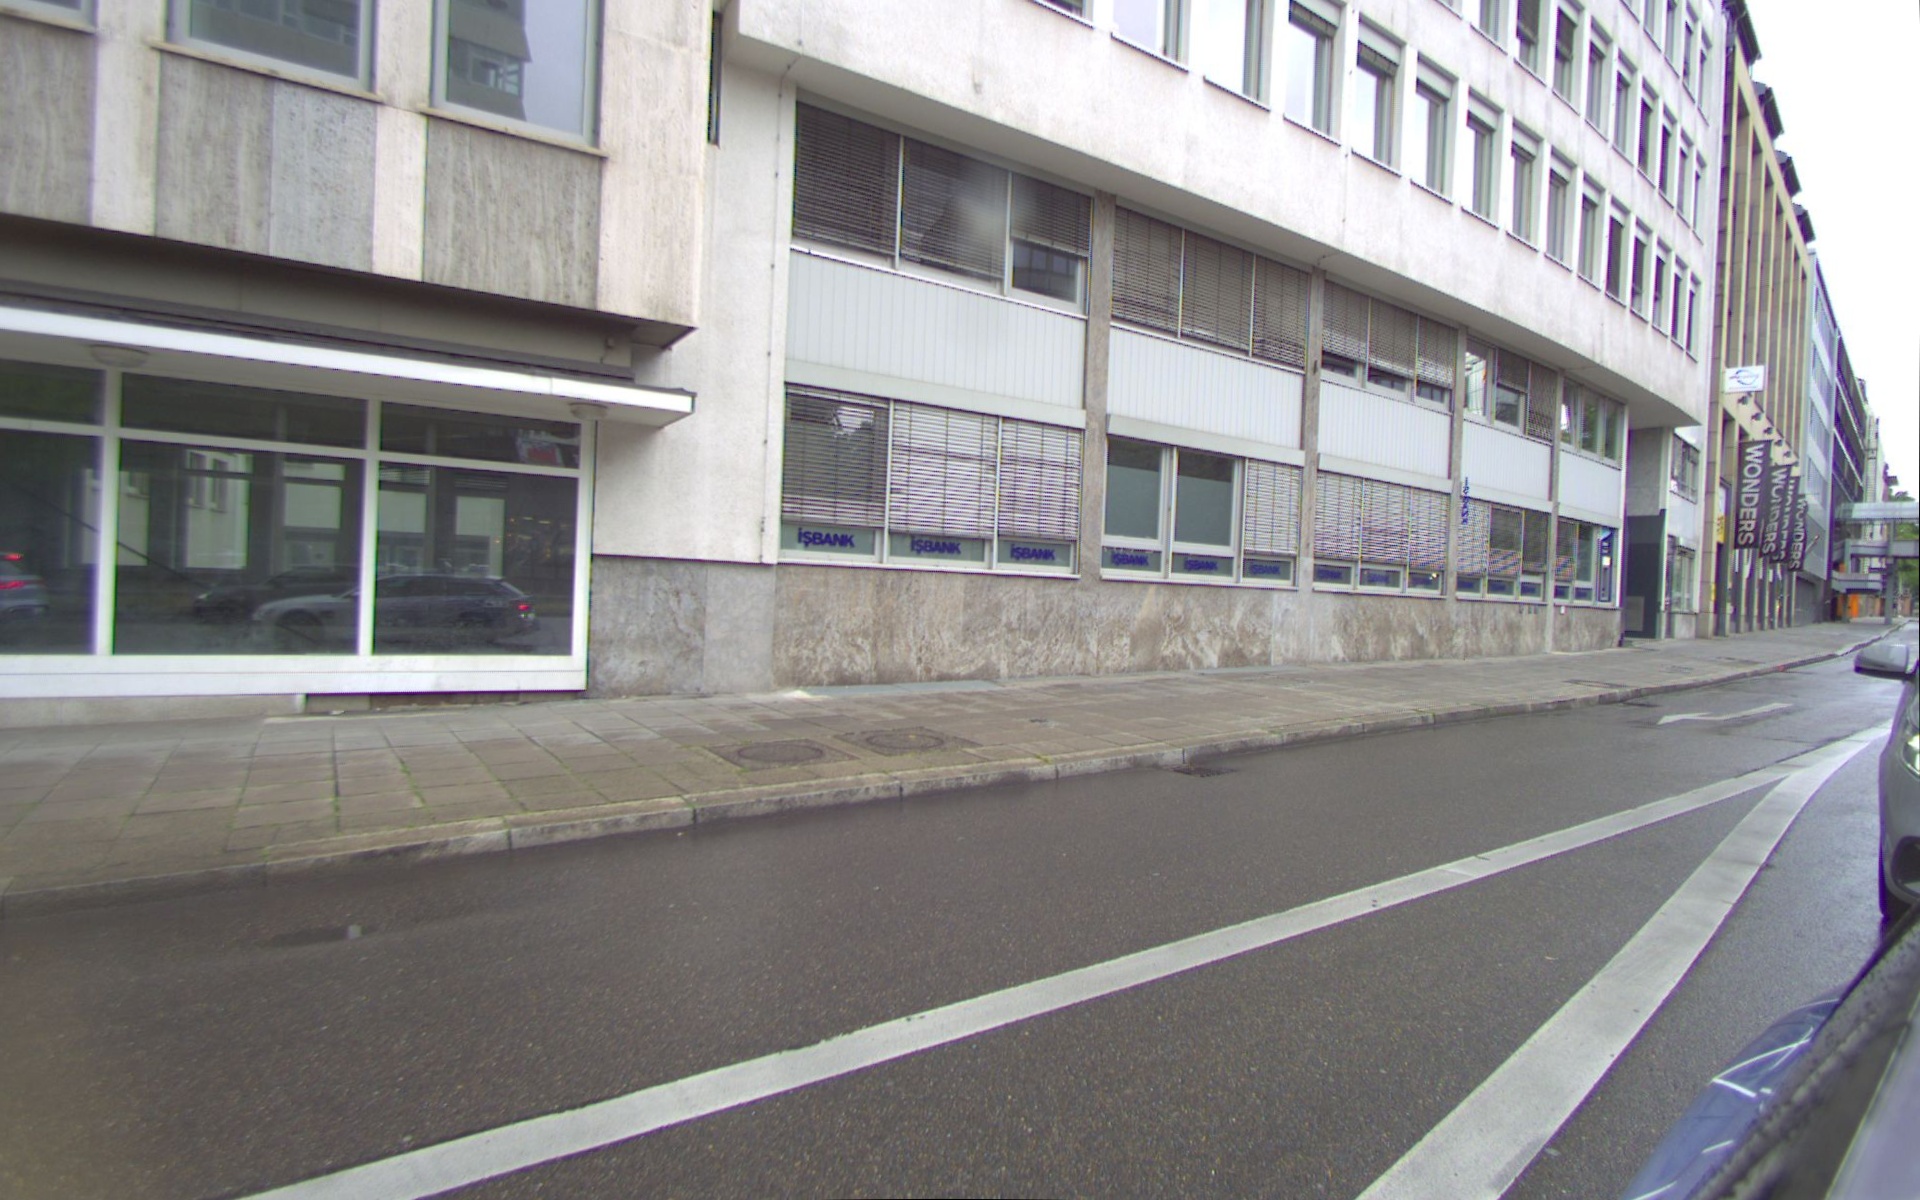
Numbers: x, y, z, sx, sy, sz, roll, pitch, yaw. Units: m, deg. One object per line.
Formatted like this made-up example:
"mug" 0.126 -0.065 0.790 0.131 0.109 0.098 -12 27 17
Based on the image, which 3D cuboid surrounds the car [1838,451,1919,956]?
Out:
"car" 6.241 0.442 5.240 4.958 2.051 2.159 0 0 -44
